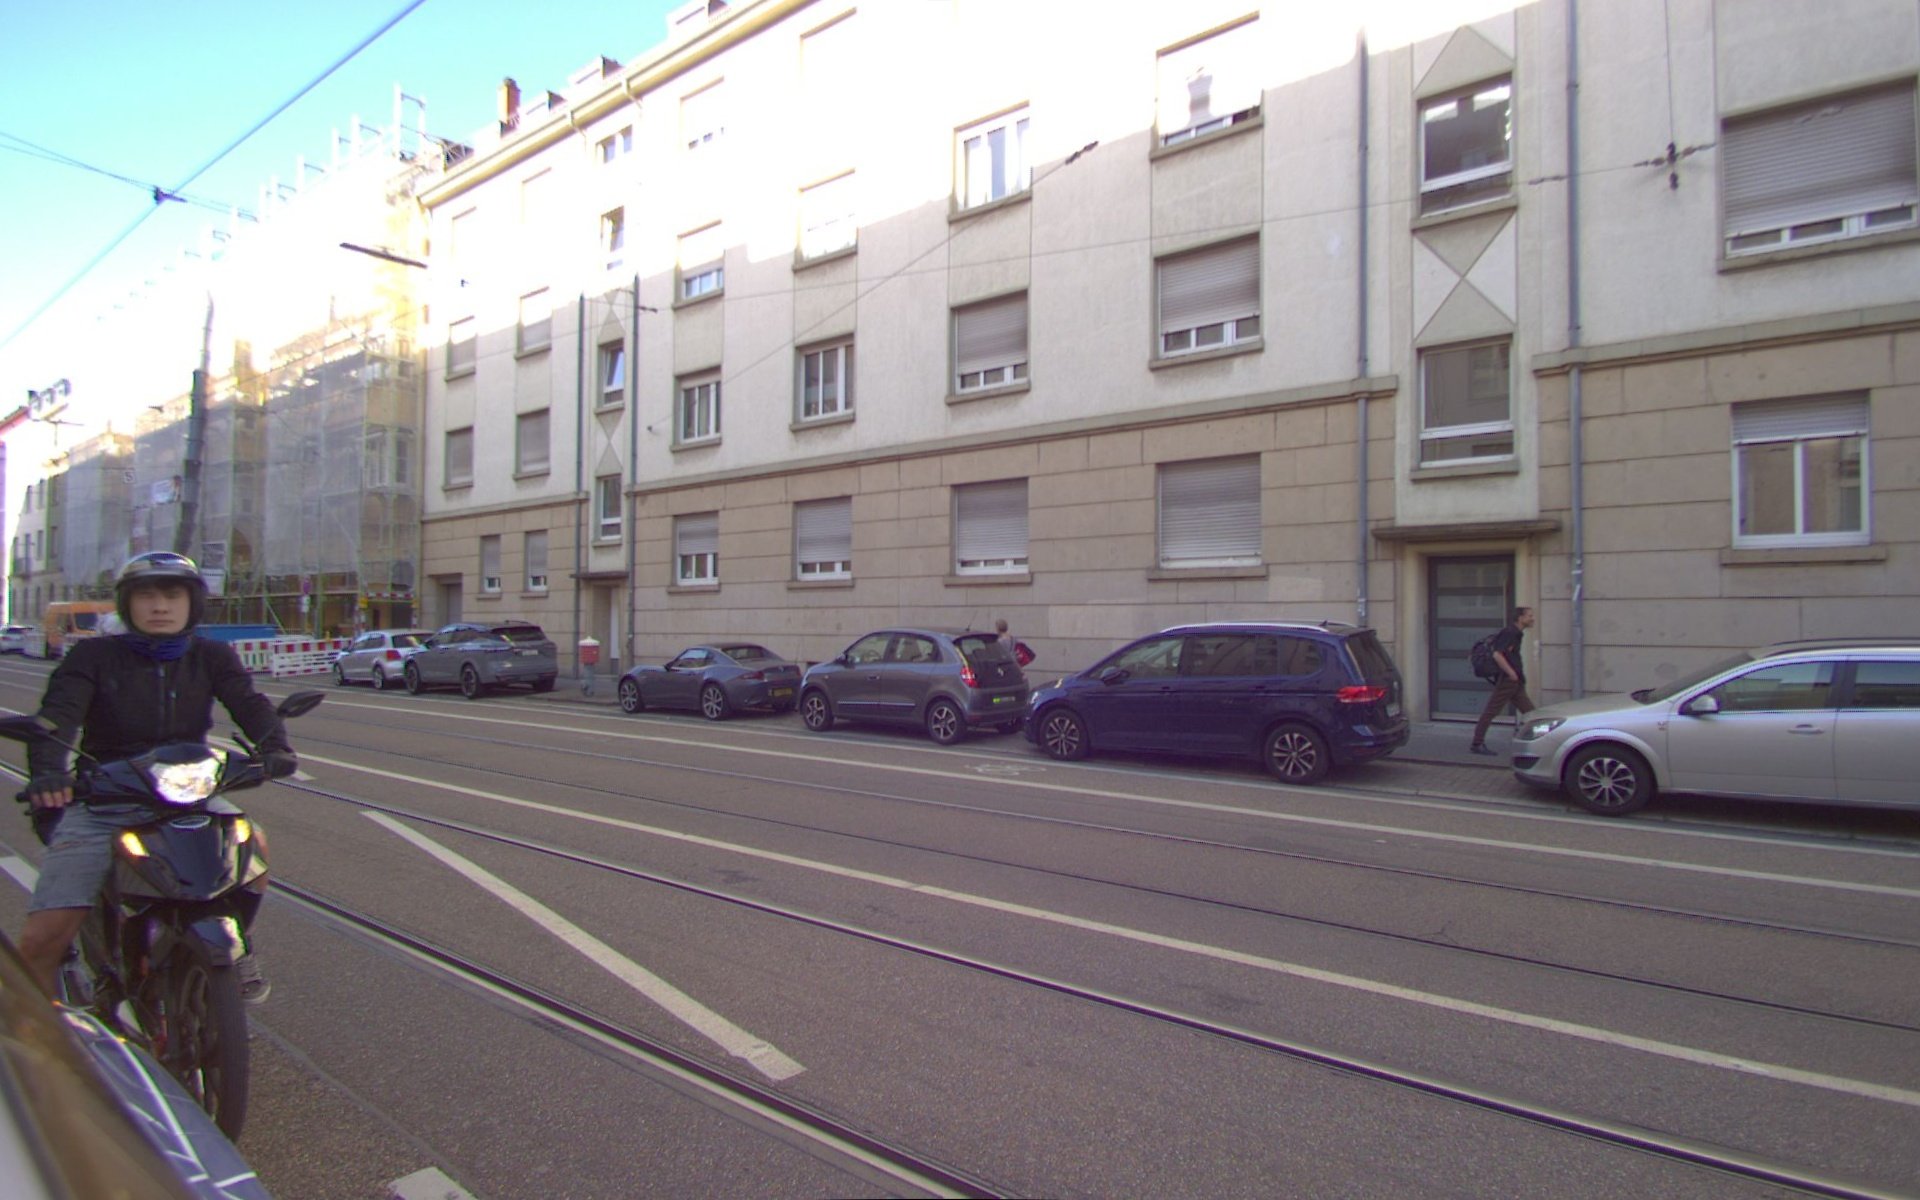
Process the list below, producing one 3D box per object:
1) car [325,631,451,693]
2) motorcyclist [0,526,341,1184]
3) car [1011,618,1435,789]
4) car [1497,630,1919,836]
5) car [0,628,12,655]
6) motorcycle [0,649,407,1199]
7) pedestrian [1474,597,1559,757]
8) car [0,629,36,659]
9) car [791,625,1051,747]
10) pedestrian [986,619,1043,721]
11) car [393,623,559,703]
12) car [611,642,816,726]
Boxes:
[{"bbox_3d":[-14.383,1.507,25.389,3.506,1.423,1.524,-1,-1,38],"label":"car"},{"bbox_3d":[-2.540,0.663,3.152,0.899,1.668,0.781,-2,-3,41],"label":"motorcyclist"},{"bbox_3d":[2.894,1.039,11.669,4.383,1.611,1.779,-1,-1,38],"label":"car"},{"bbox_3d":[7.128,1.008,8.495,4.383,1.489,1.779,-1,-1,38],"label":"car"},{"bbox_3d":[-54.582,2.338,56.807,3.964,1.498,1.662,-2,-1,42],"label":"car"},{"bbox_3d":[-2.637,0.824,3.230,2.272,1.302,0.781,-2,-3,41],"label":"motorcycle"},{"bbox_3d":[6.246,0.846,11.365,0.729,1.722,0.597,-2,-3,39],"label":"pedestrian"},{"bbox_3d":[-50.066,2.283,53.331,3.964,1.498,1.662,-2,-1,42],"label":"car"},{"bbox_3d":[-0.627,1.140,14.647,3.535,1.539,1.659,-1,-1,38],"label":"car"},{"bbox_3d":[0.850,1.077,15.826,0.693,1.553,0.563,-2,-3,39],"label":"pedestrian"},{"bbox_3d":[-10.882,1.342,22.652,4.201,1.611,1.675,-1,-1,38],"label":"car"},{"bbox_3d":[-4.313,1.373,17.493,3.681,1.244,1.502,-1,-1,38],"label":"car"}]
